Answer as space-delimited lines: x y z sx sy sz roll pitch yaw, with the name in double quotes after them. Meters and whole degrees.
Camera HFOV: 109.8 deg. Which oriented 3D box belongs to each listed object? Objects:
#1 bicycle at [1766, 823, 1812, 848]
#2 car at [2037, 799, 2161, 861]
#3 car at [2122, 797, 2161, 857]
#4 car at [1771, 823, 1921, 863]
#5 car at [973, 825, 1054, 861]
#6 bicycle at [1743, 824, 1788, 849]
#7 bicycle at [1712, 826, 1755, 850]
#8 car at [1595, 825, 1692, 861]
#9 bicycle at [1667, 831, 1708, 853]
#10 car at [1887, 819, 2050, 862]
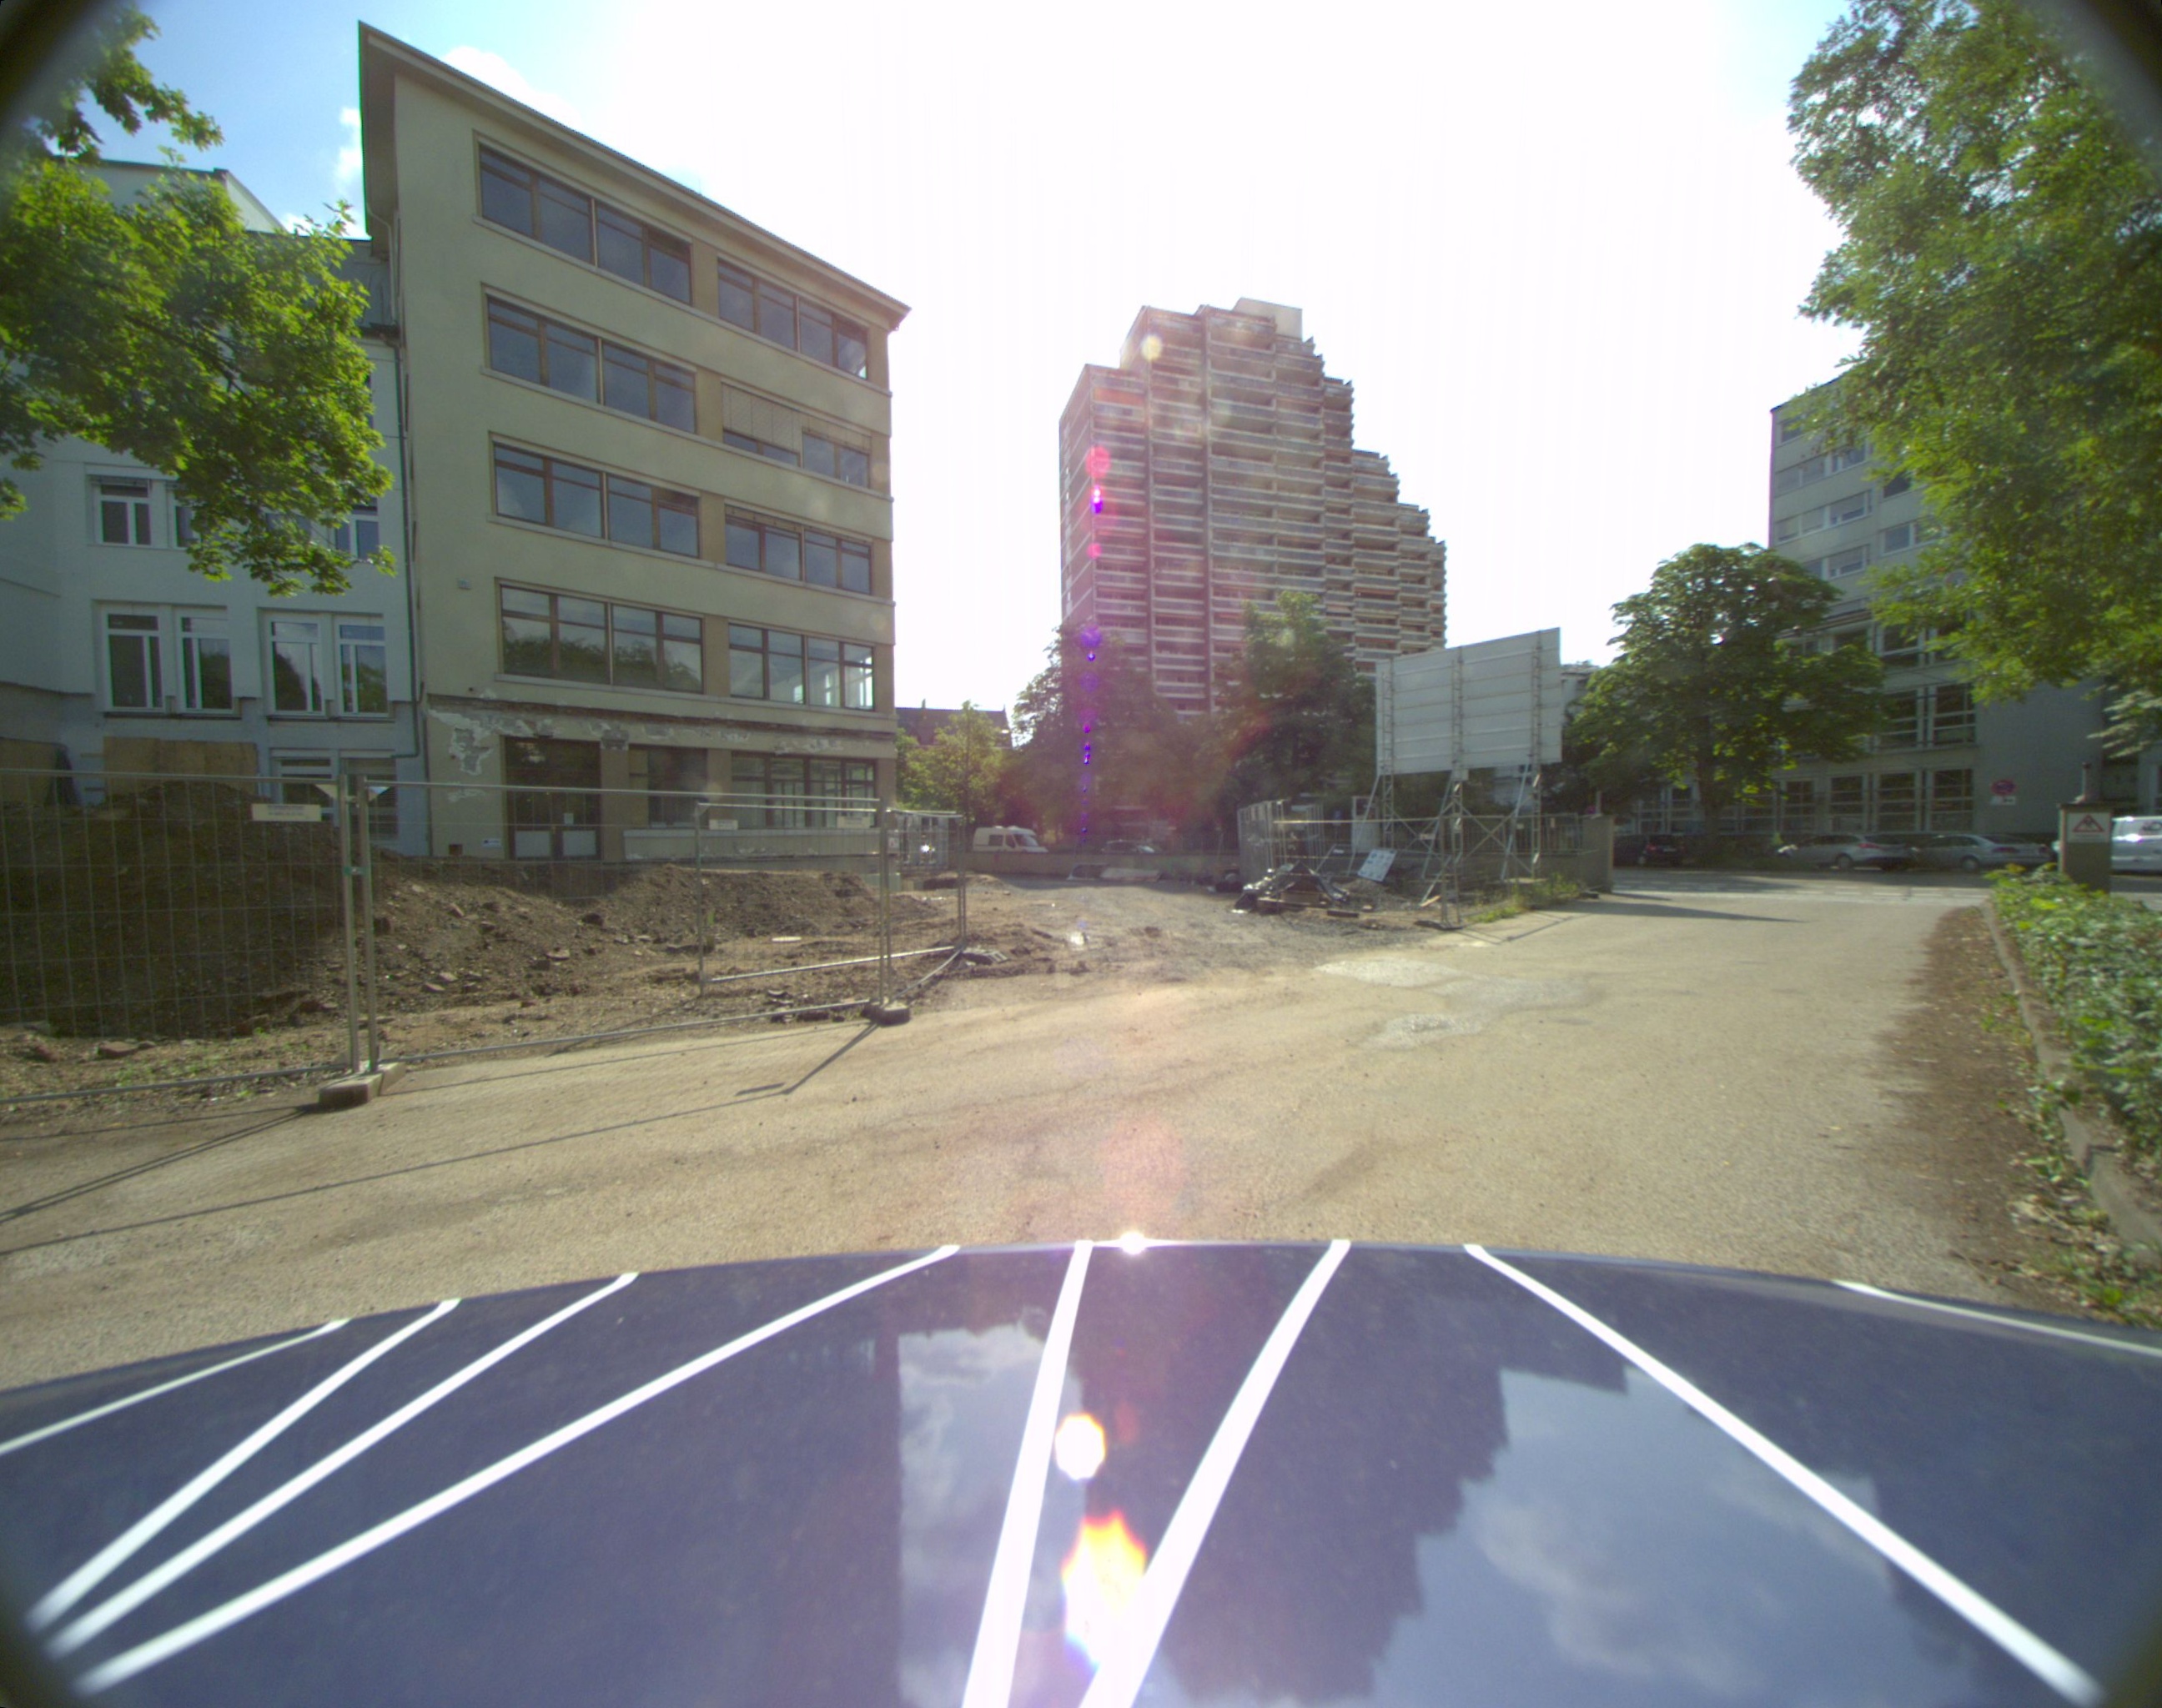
34.047 -0.898 36.546 2.056 1.080 0.496 -4 0 -12 "bicycle"
34.665 -0.749 24.530 1.930 1.901 4.643 3 2 7 "car"
36.869 -0.910 24.023 1.901 1.986 4.575 -4 1 7 "car"
30.539 -0.398 30.538 1.781 1.455 4.236 1 0 1 "car"
-4.030 -0.641 44.626 2.004 2.002 5.293 -1 1 -40 "car"
33.629 -0.839 37.329 2.056 1.080 0.496 -4 0 -12 "bicycle"
33.396 -0.798 38.870 2.056 1.080 0.496 -4 0 -12 "bicycle"
26.072 -0.464 35.375 1.758 1.453 4.002 -4 -1 6 "car"
32.563 -0.646 40.794 2.056 1.080 0.496 -4 0 -12 "bicycle"
32.521 -0.474 28.030 1.724 1.467 3.785 1 1 5 "car"
